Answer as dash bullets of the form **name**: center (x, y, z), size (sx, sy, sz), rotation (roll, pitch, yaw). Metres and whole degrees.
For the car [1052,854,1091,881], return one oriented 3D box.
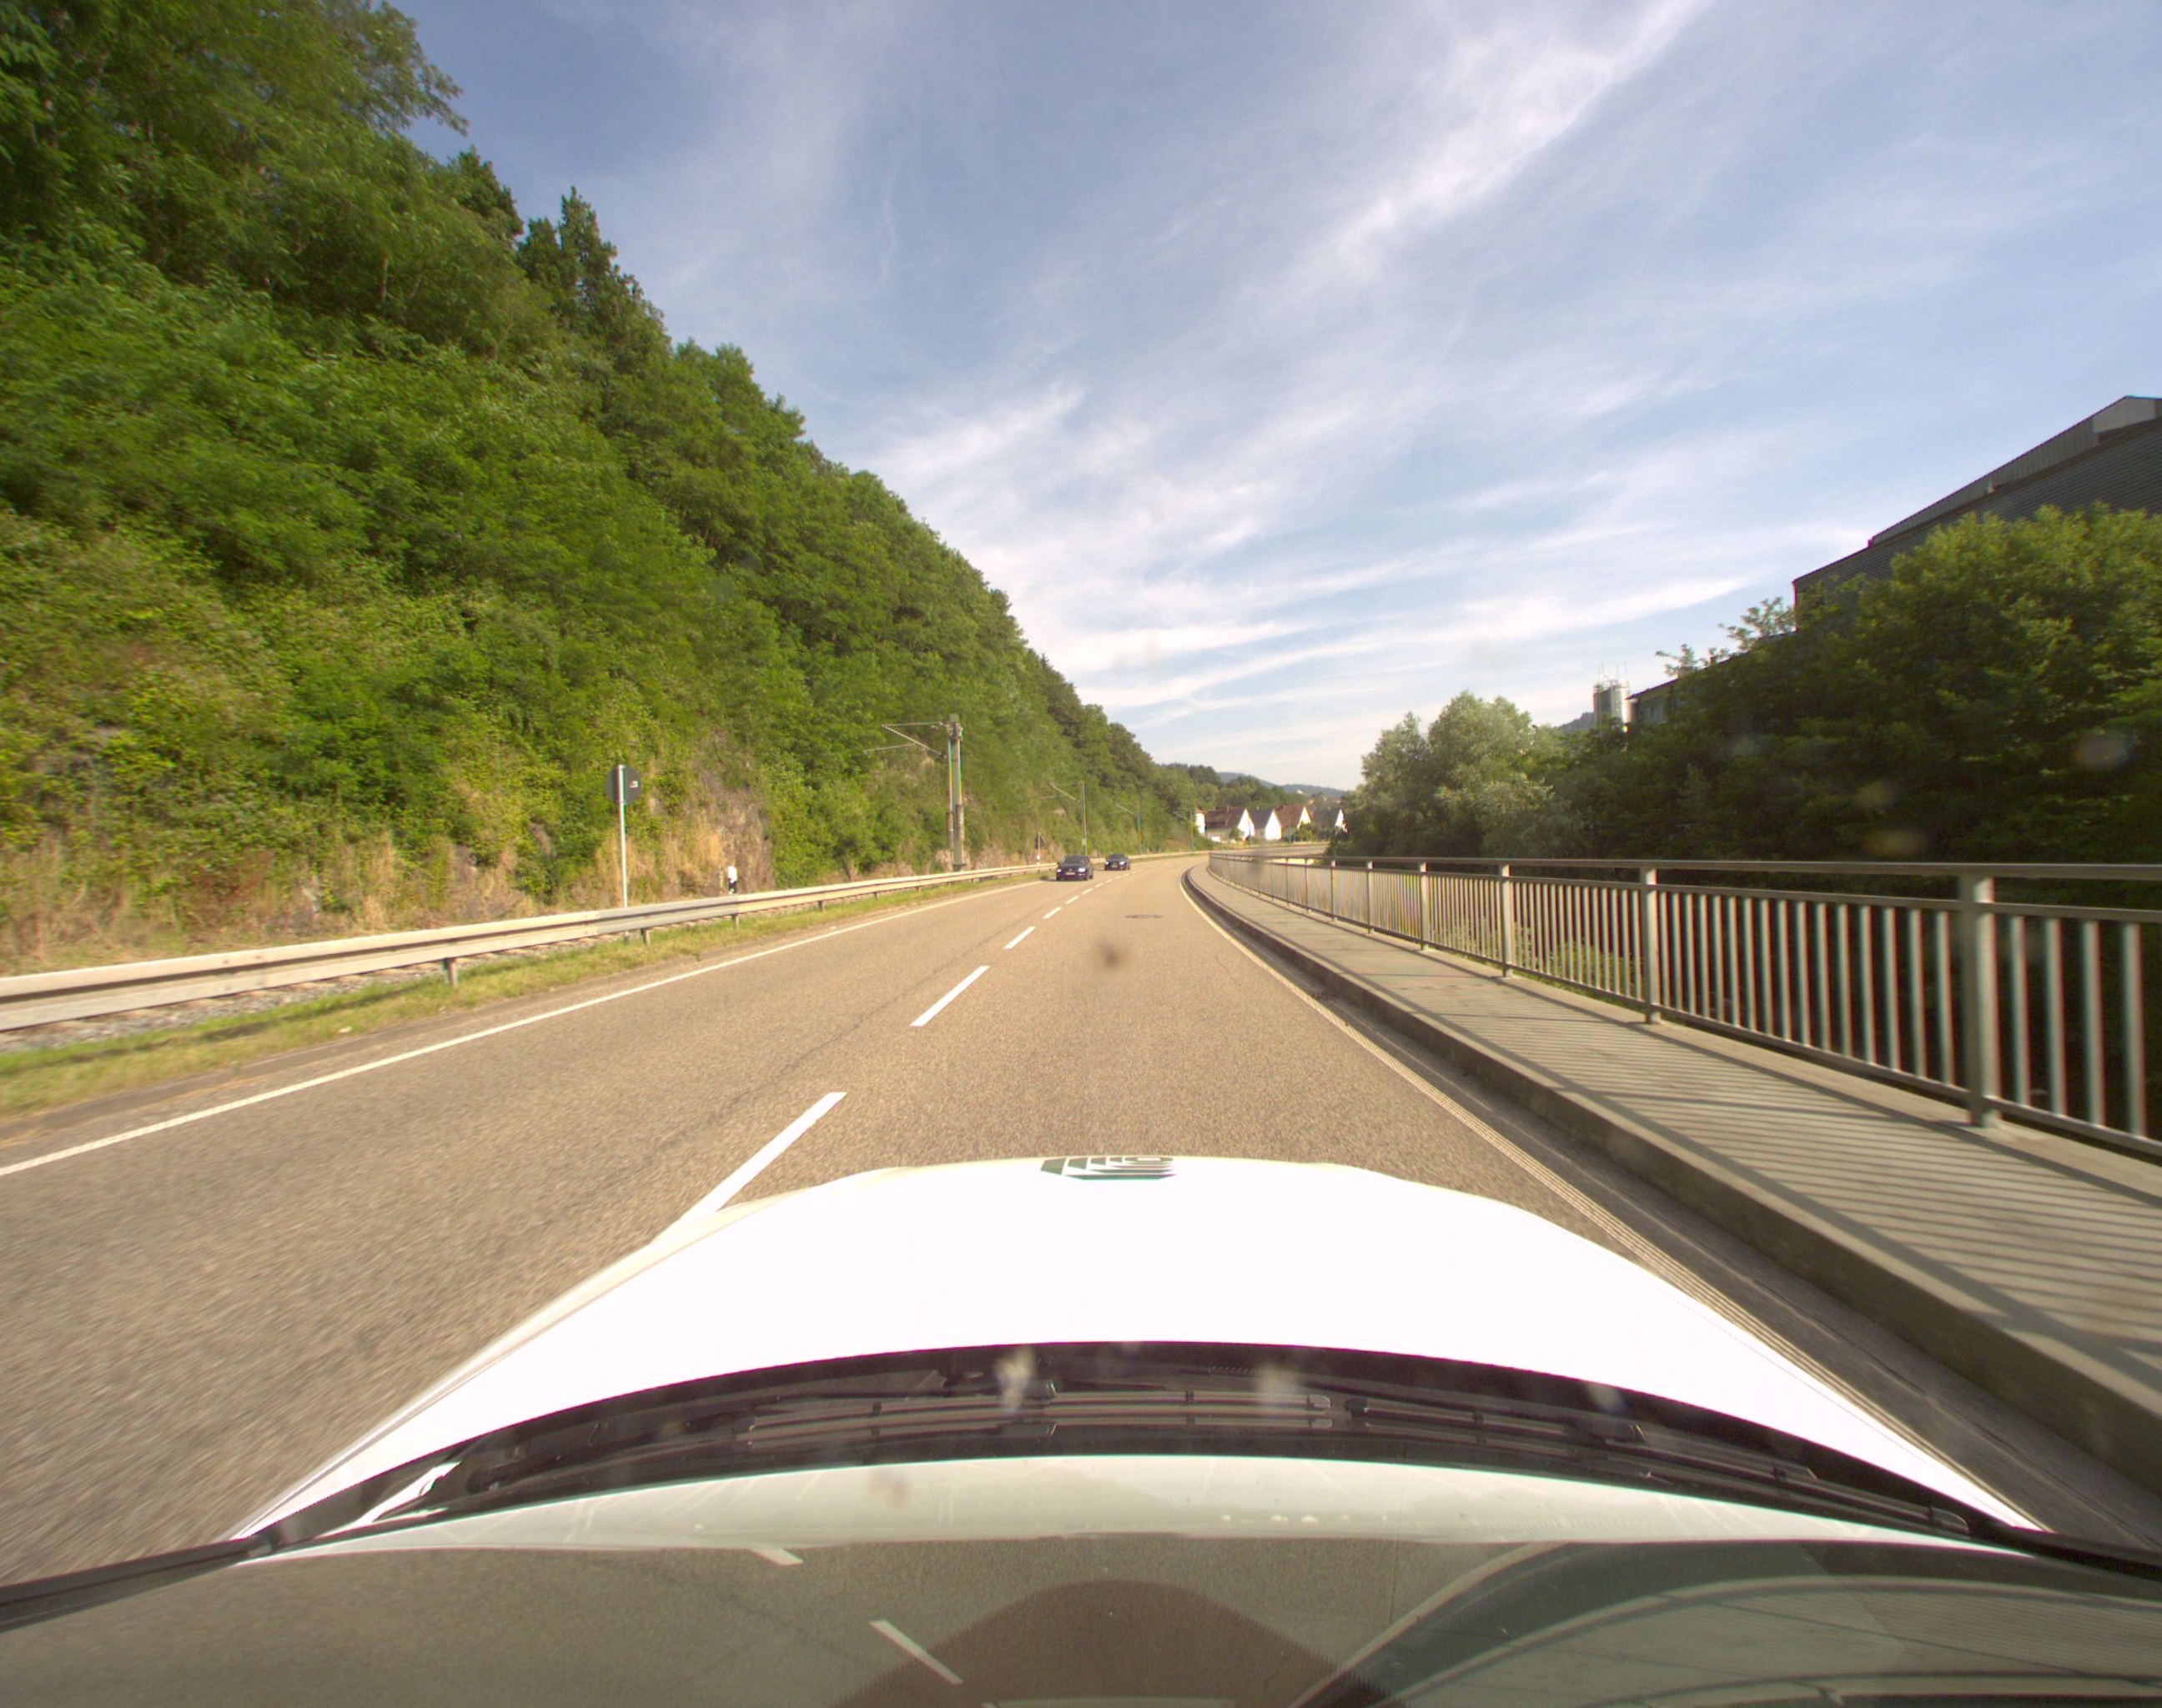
- **car**: center (-0.488, 0.744, 46.392), size (1.838, 1.440, 3.902), rotation (-1, 0, 5)

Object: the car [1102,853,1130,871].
- **car**: center (3.030, 0.632, 68.910), size (1.836, 1.402, 4.487), rotation (-2, 0, 9)
